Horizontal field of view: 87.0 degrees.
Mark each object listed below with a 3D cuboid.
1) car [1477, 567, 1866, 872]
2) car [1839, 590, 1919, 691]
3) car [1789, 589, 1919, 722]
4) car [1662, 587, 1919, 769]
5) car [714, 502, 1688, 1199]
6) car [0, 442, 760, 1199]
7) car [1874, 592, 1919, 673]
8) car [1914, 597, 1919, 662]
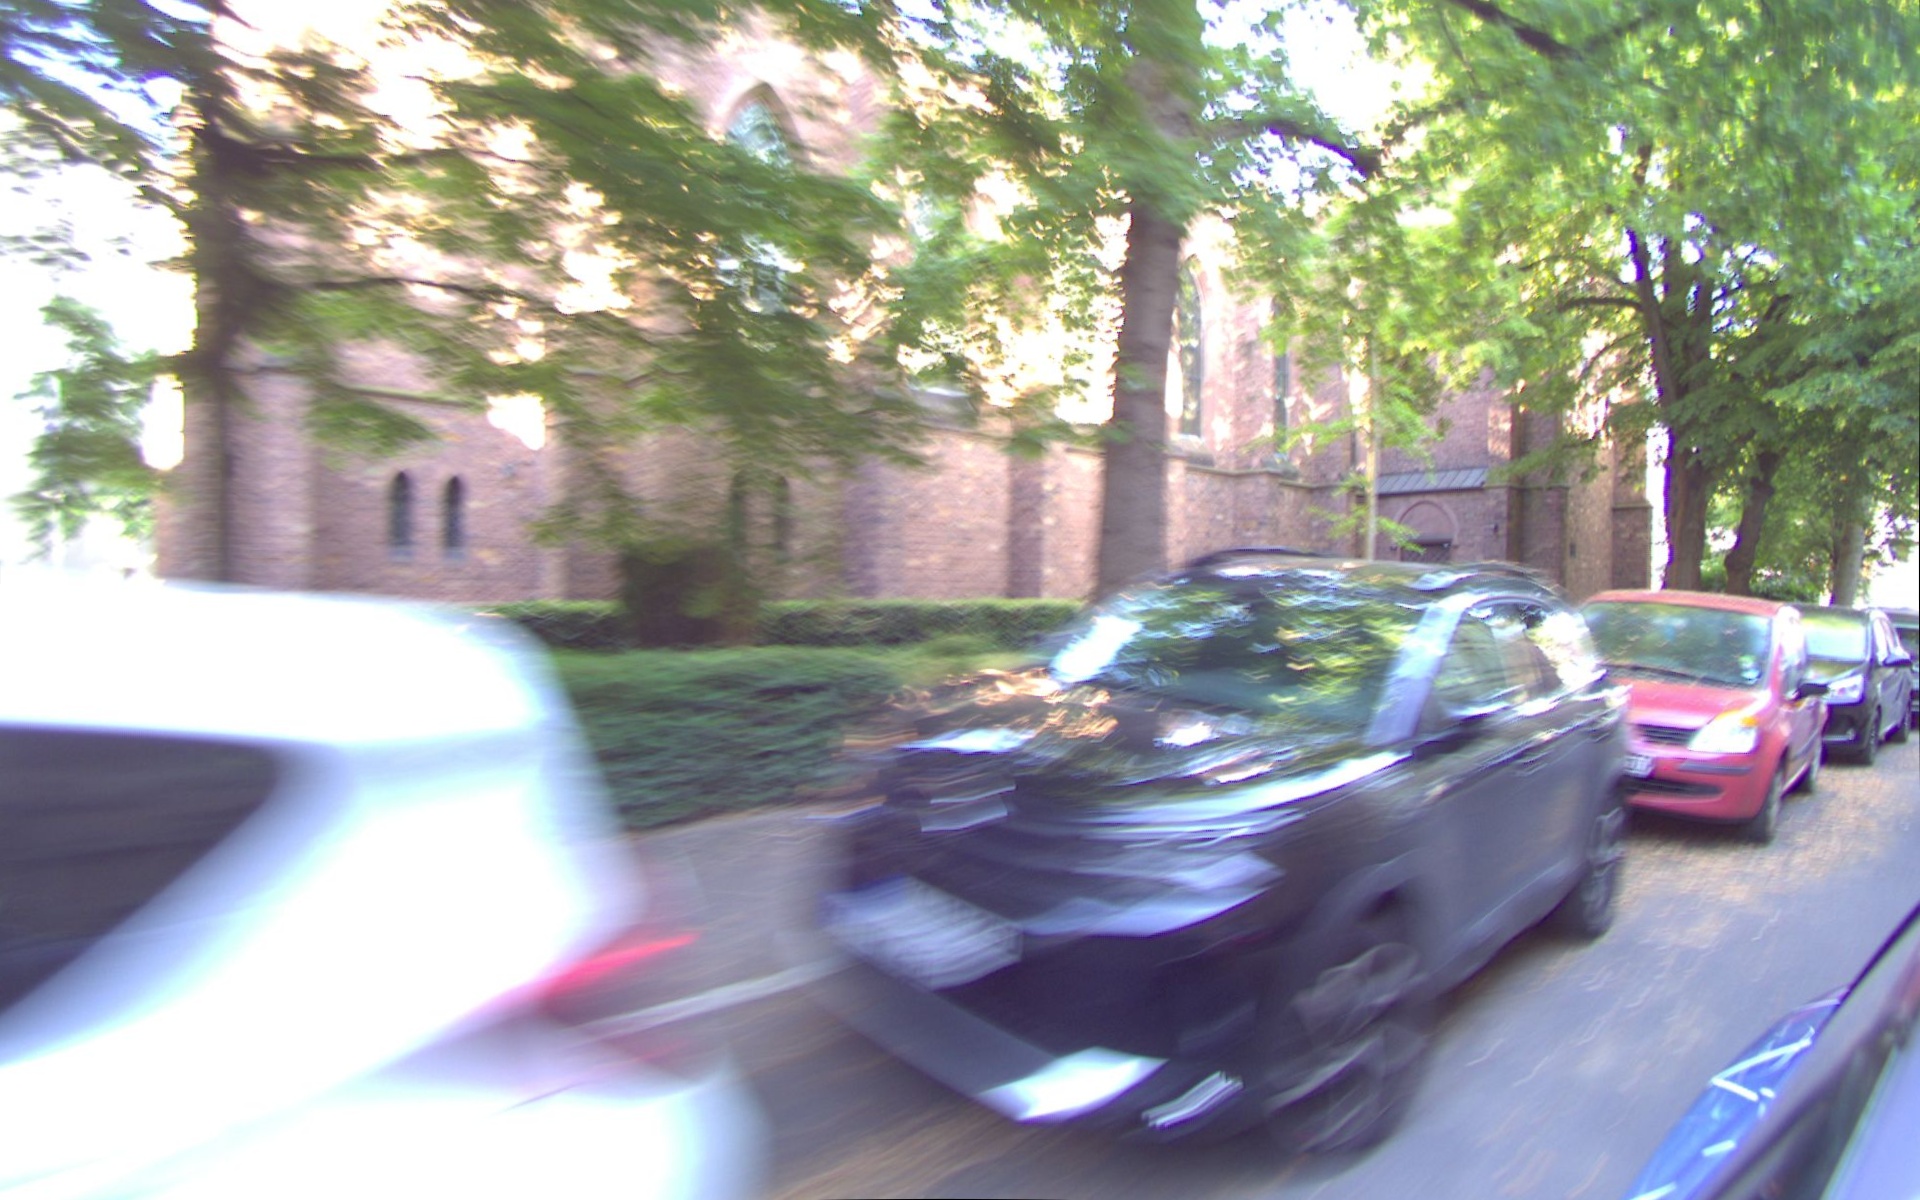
[{"bbox_3d":[5.554,0.644,7.711,3.800,1.643,1.621,-1,6,-44],"label":"car"},{"bbox_3d":[16.625,0.666,17.514,3.566,1.523,1.603,-1,6,-42],"label":"car"},{"bbox_3d":[12.997,0.666,14.107,4.620,1.458,1.677,-1,6,-45],"label":"car"},{"bbox_3d":[9.222,0.685,10.919,3.708,1.504,1.624,0,6,-39],"label":"car"},{"bbox_3d":[1.340,0.551,4.064,4.194,1.622,1.742,-1,6,-44],"label":"car"},{"bbox_3d":[-2.246,0.642,0.801,3.763,1.590,1.721,0,1,-43],"label":"car"},{"bbox_3d":[20.044,0.661,20.592,3.501,1.485,1.603,-1,6,-40],"label":"car"},{"bbox_3d":[23.757,0.695,23.699,3.801,1.488,1.603,-1,3,-40],"label":"car"}]
